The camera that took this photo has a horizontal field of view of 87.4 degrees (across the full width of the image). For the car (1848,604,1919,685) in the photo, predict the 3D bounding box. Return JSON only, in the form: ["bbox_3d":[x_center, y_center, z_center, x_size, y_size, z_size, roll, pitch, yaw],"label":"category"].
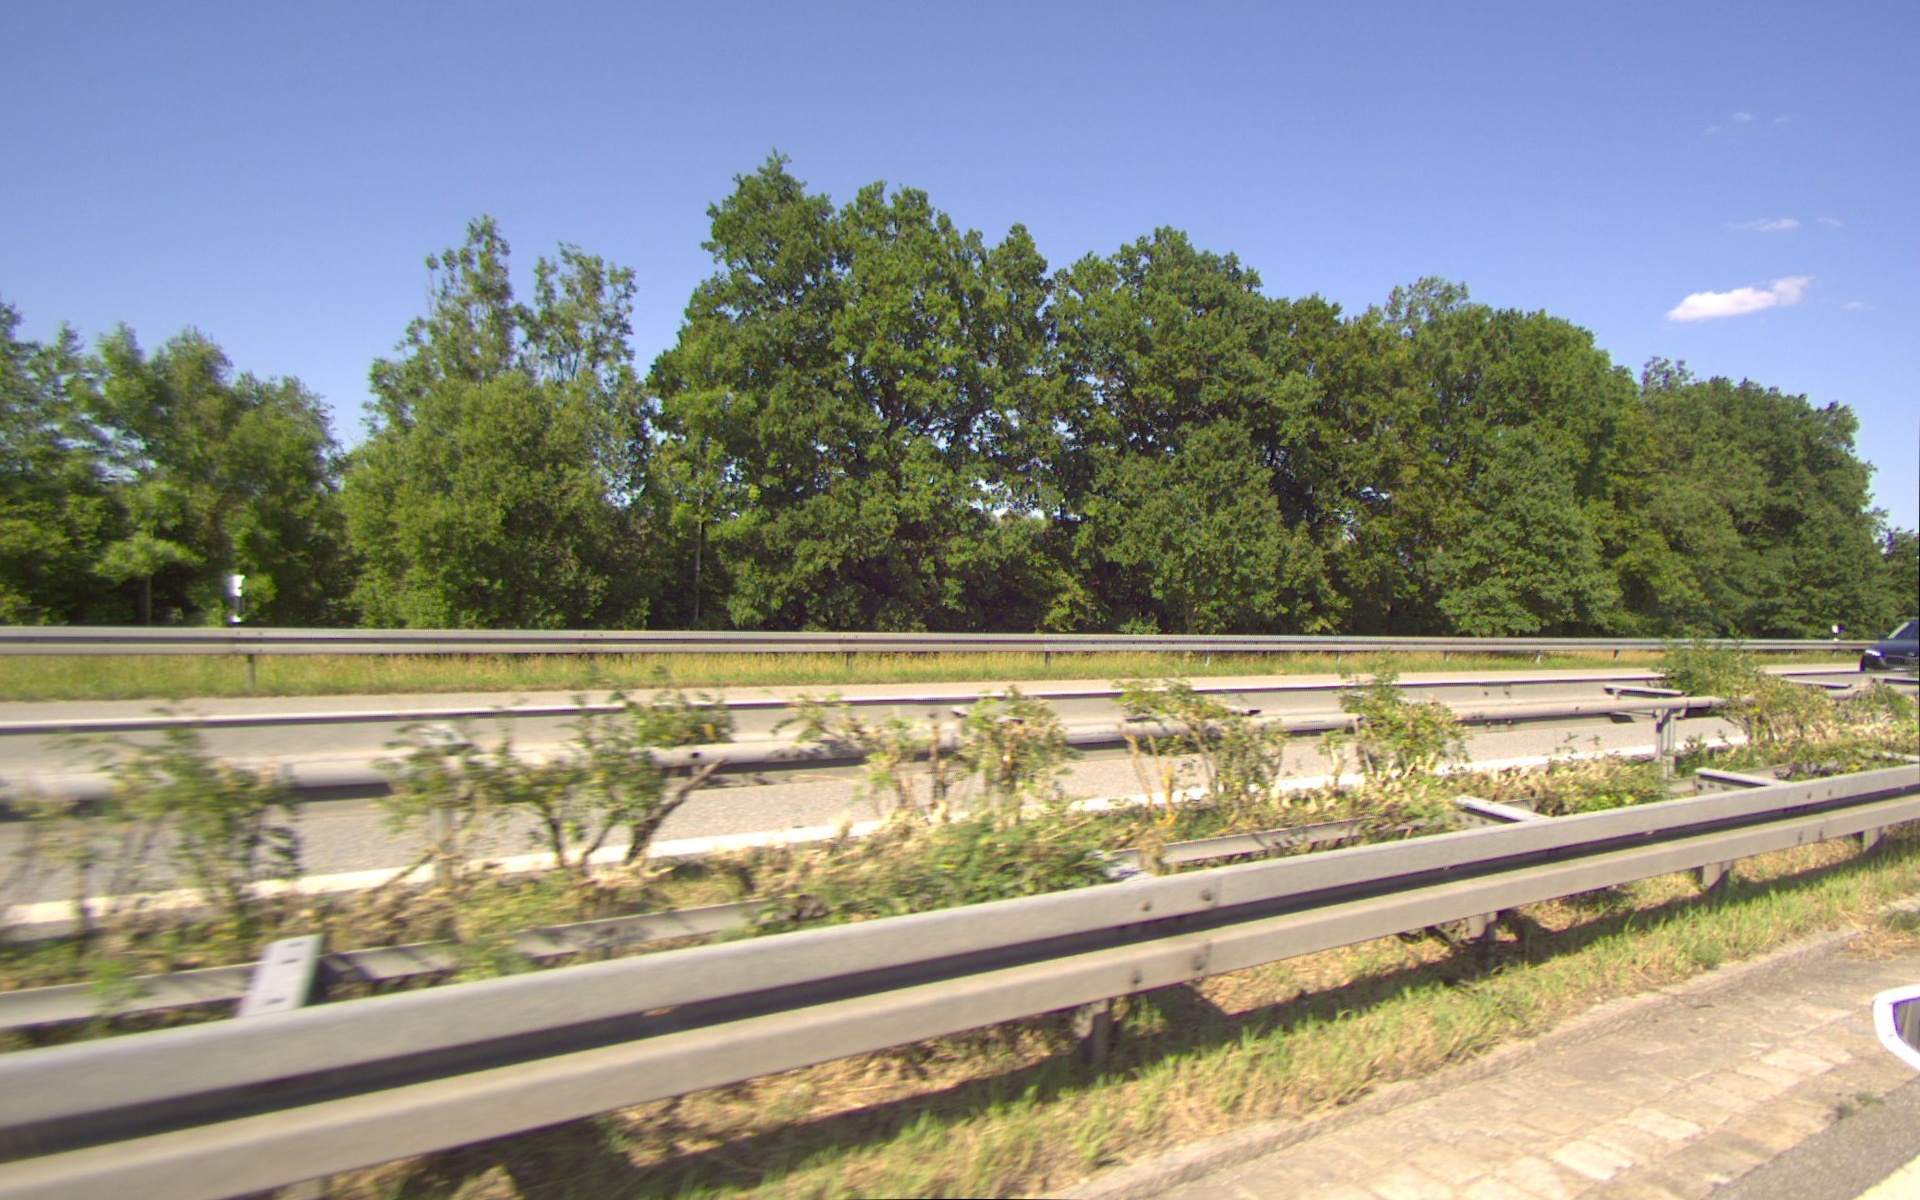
[{"bbox_3d":[19.157,0.859,19.582,4.200,1.469,1.650,2,-1,-32],"label":"car"}]
